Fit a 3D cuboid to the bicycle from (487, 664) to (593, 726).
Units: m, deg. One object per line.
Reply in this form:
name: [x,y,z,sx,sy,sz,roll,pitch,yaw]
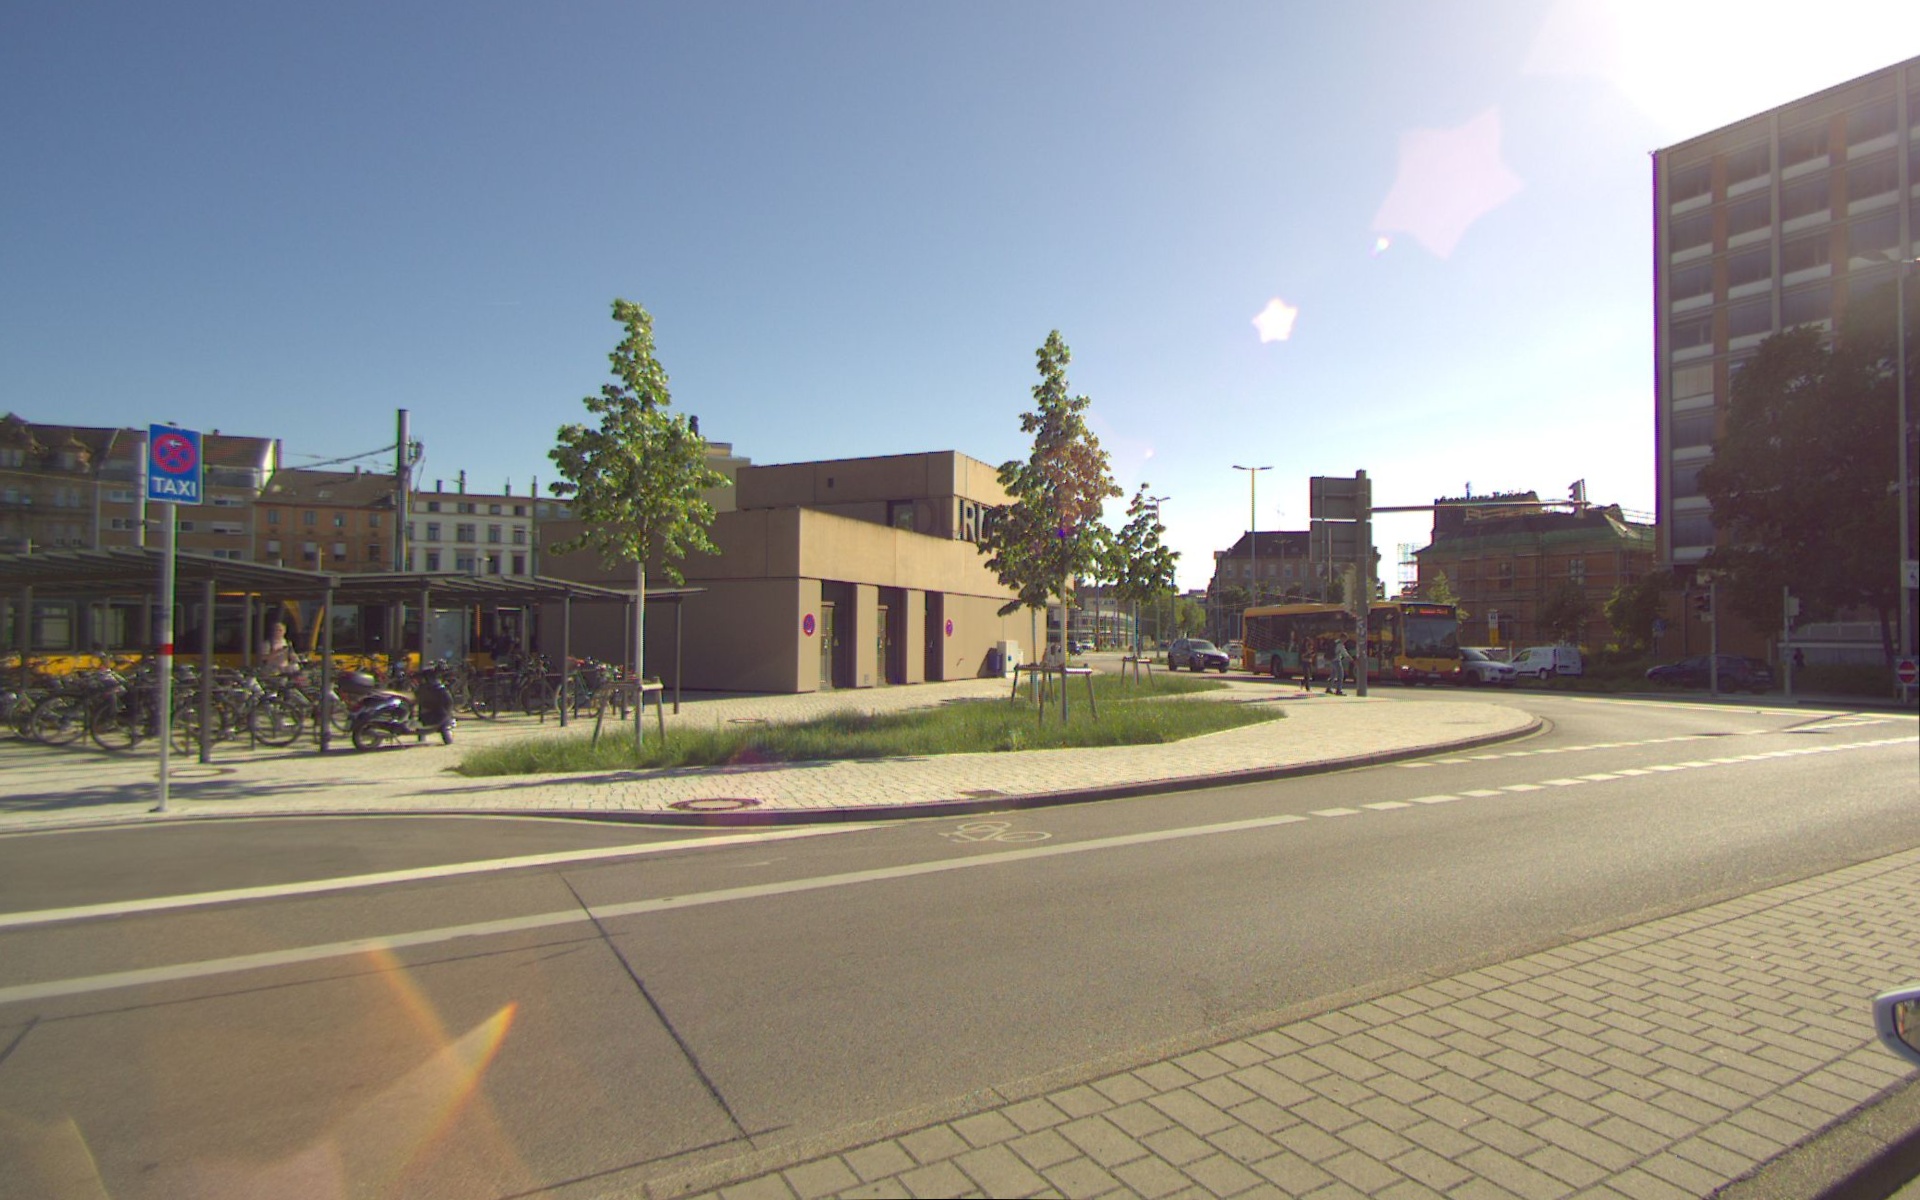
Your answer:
bicycle: [-7.683,1.715,18.455,0.617,1.021,1.828,0,-2,27]

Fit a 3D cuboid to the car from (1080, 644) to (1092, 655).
car: [20.419,8.019,162.702,1.865,1.728,4.003,0,-2,8]

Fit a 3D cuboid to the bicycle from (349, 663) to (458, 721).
bicycle: [-10.878,1.781,19.703,0.617,1.021,1.828,0,-2,27]

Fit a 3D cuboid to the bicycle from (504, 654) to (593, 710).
bicycle: [-8.762,1.719,21.458,0.617,1.107,1.829,0,-2,25]

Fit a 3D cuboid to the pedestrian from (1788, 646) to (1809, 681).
pedestrian: [38.967,2.958,46.680,0.545,1.591,0.534,1,-1,-5]

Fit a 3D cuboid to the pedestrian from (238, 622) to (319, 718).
pedestrian: [-12.694,1.277,18.710,1.005,1.727,0.838,0,-2,26]

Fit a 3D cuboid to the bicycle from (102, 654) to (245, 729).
bicycle: [-13.437,1.532,17.227,0.617,1.176,1.829,0,-2,25]

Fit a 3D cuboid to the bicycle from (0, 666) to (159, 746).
bicycle: [-13.115,1.521,14.784,0.616,1.021,2.004,0,-2,22]

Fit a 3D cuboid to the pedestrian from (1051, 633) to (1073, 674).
pedestrian: [4.664,2.452,46.117,0.826,1.869,0.866,1,-1,-7]

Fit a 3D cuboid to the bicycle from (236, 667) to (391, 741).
bicycle: [-10.127,1.604,15.839,0.617,1.021,2.026,0,-2,25]

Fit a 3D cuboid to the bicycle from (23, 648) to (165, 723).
bicycle: [-15.565,1.514,18.121,0.617,1.249,1.829,0,-2,25]

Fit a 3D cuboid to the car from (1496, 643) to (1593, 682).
car: [30.732,3.244,52.957,2.176,1.905,4.176,1,-2,-12]

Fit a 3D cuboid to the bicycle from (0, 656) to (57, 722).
bicycle: [-15.532,1.417,15.833,0.617,1.021,1.830,0,-2,23]

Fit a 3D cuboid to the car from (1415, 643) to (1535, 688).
car: [19.294,2.430,37.825,1.861,1.421,3.845,4,-2,-15]

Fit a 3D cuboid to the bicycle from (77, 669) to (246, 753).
bicycle: [-11.021,1.501,13.935,0.539,1.021,1.749,0,-2,28]

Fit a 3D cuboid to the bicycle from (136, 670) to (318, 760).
bicycle: [-9.917,1.524,13.674,0.677,1.055,1.891,0,-2,27]

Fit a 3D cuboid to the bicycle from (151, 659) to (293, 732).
bicycle: [-12.280,1.564,16.774,0.617,1.094,1.829,0,-2,25]

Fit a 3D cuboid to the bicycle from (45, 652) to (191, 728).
bicycle: [-14.558,1.520,17.430,0.636,1.204,1.829,0,-2,25]

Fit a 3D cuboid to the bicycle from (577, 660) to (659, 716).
bicycle: [-6.836,1.741,20.157,0.616,1.021,1.832,0,-2,16]

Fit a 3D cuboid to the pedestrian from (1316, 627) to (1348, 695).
pedestrian: [10.461,1.717,28.246,0.594,1.880,0.681,1,-1,-7]

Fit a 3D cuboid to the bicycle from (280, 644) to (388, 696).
bicycle: [-13.008,1.431,20.927,0.617,1.021,1.828,0,-2,27]

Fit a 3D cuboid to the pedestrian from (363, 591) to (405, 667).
pedestrian: [-14.399,0.731,25.124,0.738,1.880,0.709,1,-1,-19]

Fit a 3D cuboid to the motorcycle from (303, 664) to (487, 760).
motorcycle: [-7.923,1.525,14.246,0.599,1.173,2.360,0,-2,25]

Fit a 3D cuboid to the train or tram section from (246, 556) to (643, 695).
train or tram section: [-15.719,0.879,32.544,2.702,3.648,12.318,0,-2,25]

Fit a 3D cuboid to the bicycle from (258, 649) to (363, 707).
bicycle: [-13.928,1.650,21.589,0.617,1.146,1.828,0,-2,27]

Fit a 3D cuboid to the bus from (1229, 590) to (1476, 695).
bus: [15.419,1.683,41.304,3.193,3.617,12.437,1,-2,-12]

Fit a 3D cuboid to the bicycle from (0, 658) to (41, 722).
bicycle: [-16.127,1.468,16.184,0.617,1.021,1.829,0,-2,25]

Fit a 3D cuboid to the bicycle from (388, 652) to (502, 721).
bicycle: [-9.901,1.637,19.396,0.496,1.225,2.051,0,-2,26]

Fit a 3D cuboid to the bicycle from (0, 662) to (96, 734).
bicycle: [-14.377,1.482,15.257,0.616,1.021,1.831,0,-2,18]

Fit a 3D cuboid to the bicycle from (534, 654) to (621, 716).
bicycle: [-7.757,1.708,20.455,0.616,1.161,1.831,0,-2,18]

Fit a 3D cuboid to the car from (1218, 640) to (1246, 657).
car: [28.417,5.051,105.138,1.960,1.603,4.001,2,0,2]

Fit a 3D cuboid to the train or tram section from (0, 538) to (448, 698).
train or tram section: [-20.943,0.603,28.590,2.779,3.648,12.320,0,-2,24]

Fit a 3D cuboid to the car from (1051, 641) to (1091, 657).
car: [12.346,5.454,112.000,3.928,1.603,1.996,1,0,30]

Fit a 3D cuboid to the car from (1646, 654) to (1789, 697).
car: [28.879,2.831,38.429,2.070,1.467,3.896,1,-2,-20]

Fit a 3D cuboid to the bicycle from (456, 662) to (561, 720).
bicycle: [-8.628,1.716,19.270,0.492,1.010,1.887,0,-2,31]

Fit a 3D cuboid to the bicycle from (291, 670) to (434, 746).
bicycle: [-9.043,1.605,15.290,0.617,1.021,1.829,0,-2,25]

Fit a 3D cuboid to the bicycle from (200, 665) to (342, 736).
bicycle: [-11.112,1.597,16.278,0.617,1.021,1.829,0,-2,25]

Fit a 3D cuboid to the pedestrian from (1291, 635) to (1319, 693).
pedestrian: [10.390,1.912,30.243,0.594,1.719,0.634,1,-1,-7]

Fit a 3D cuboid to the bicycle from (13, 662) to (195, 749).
bicycle: [-12.193,1.466,14.378,0.616,1.107,1.879,0,-2,27]

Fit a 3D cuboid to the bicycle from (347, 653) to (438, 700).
bicycle: [-13.278,1.768,23.565,0.617,1.021,1.829,0,-2,25]

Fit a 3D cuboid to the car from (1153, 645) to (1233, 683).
car: [12.704,3.468,55.041,1.975,1.885,4.720,1,-2,-21]
